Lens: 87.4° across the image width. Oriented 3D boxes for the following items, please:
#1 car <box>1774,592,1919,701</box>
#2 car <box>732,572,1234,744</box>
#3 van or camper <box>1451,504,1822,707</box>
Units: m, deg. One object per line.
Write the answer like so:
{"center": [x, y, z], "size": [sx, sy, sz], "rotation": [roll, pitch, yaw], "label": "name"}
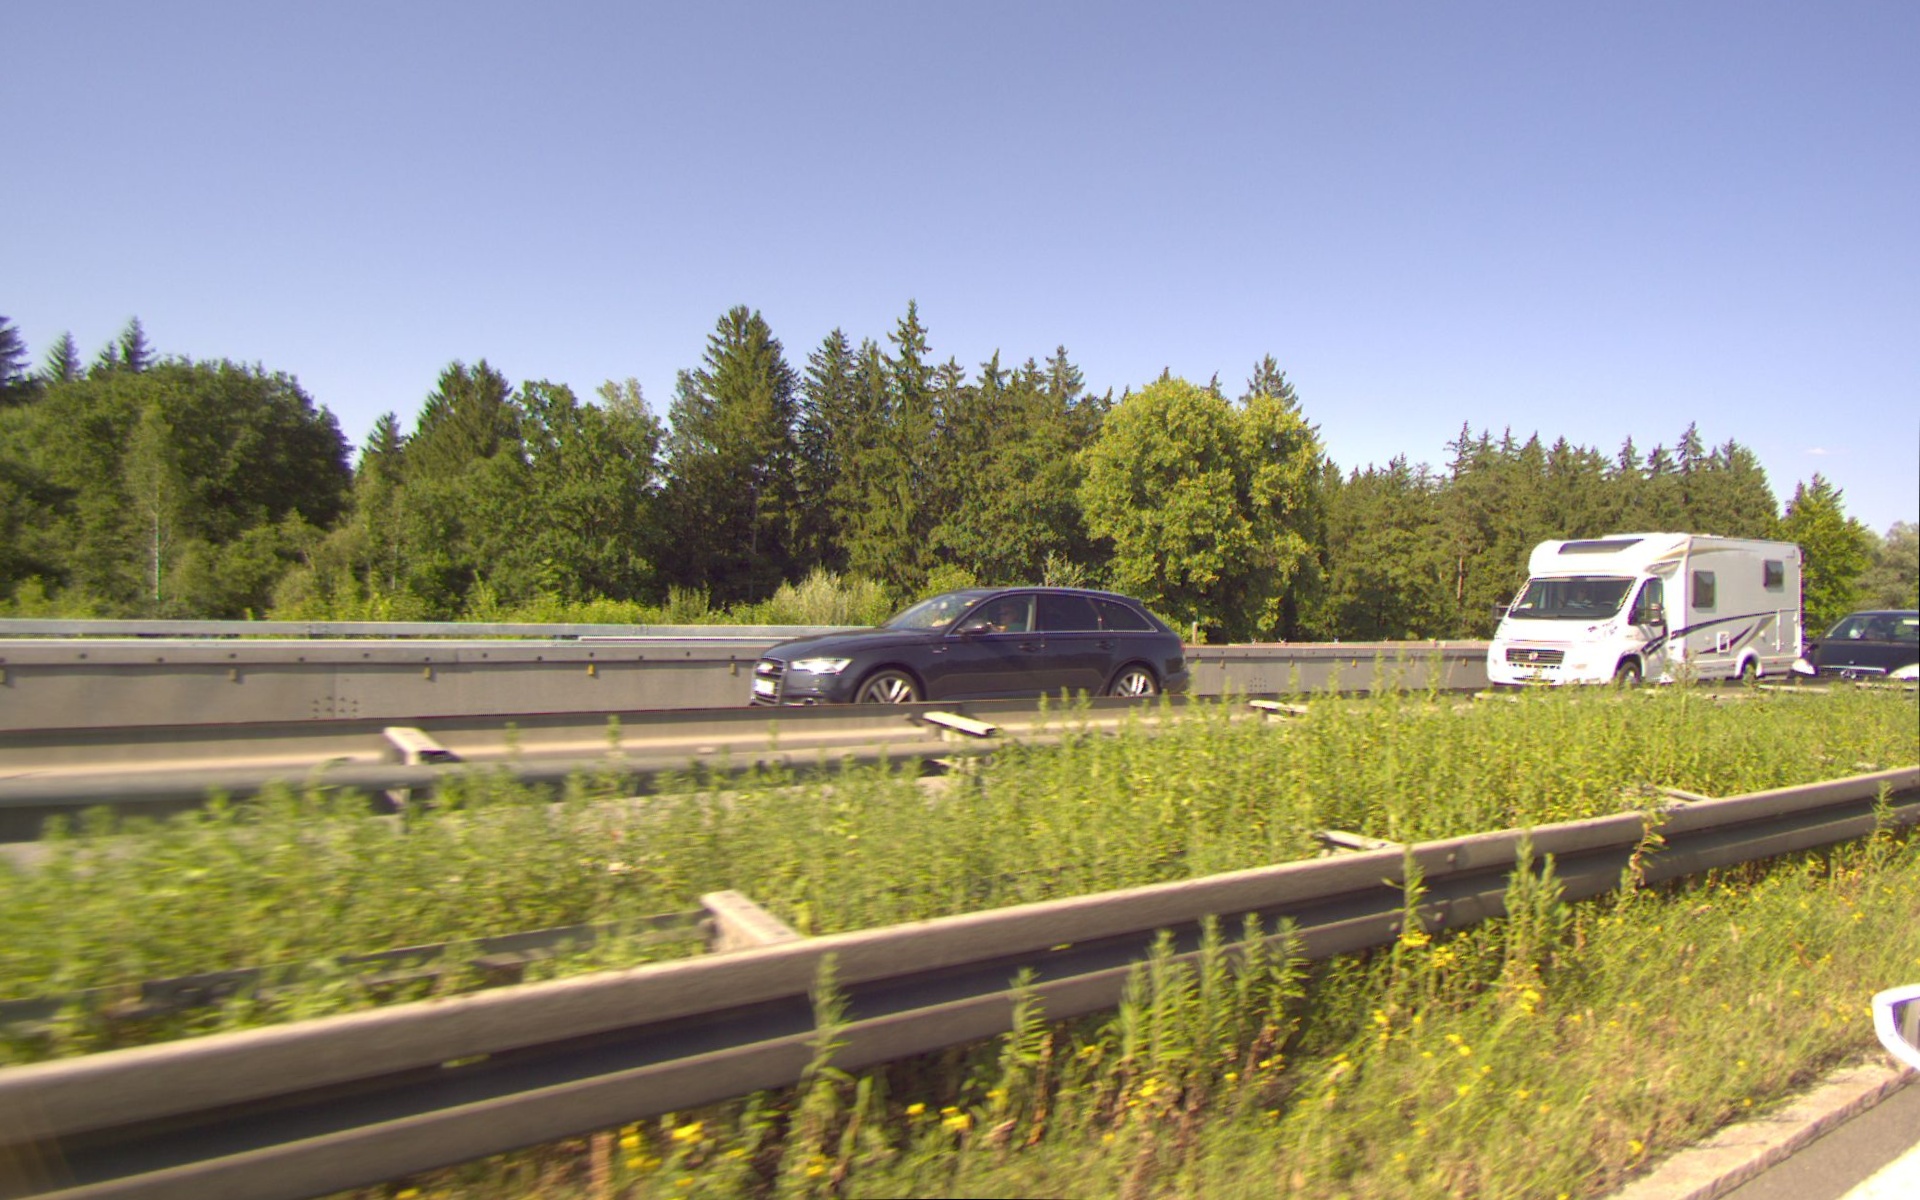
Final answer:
{"center": [14.979, 0.720, 16.099], "size": [3.953, 1.550, 1.734], "rotation": [1, -1, -30], "label": "car"}
{"center": [0.388, 0.575, 10.578], "size": [5.174, 1.451, 1.733], "rotation": [1, -3, -31], "label": "car"}
{"center": [12.075, 0.158, 17.700], "size": [7.434, 2.990, 2.394], "rotation": [1, 0, -30], "label": "van or camper"}
